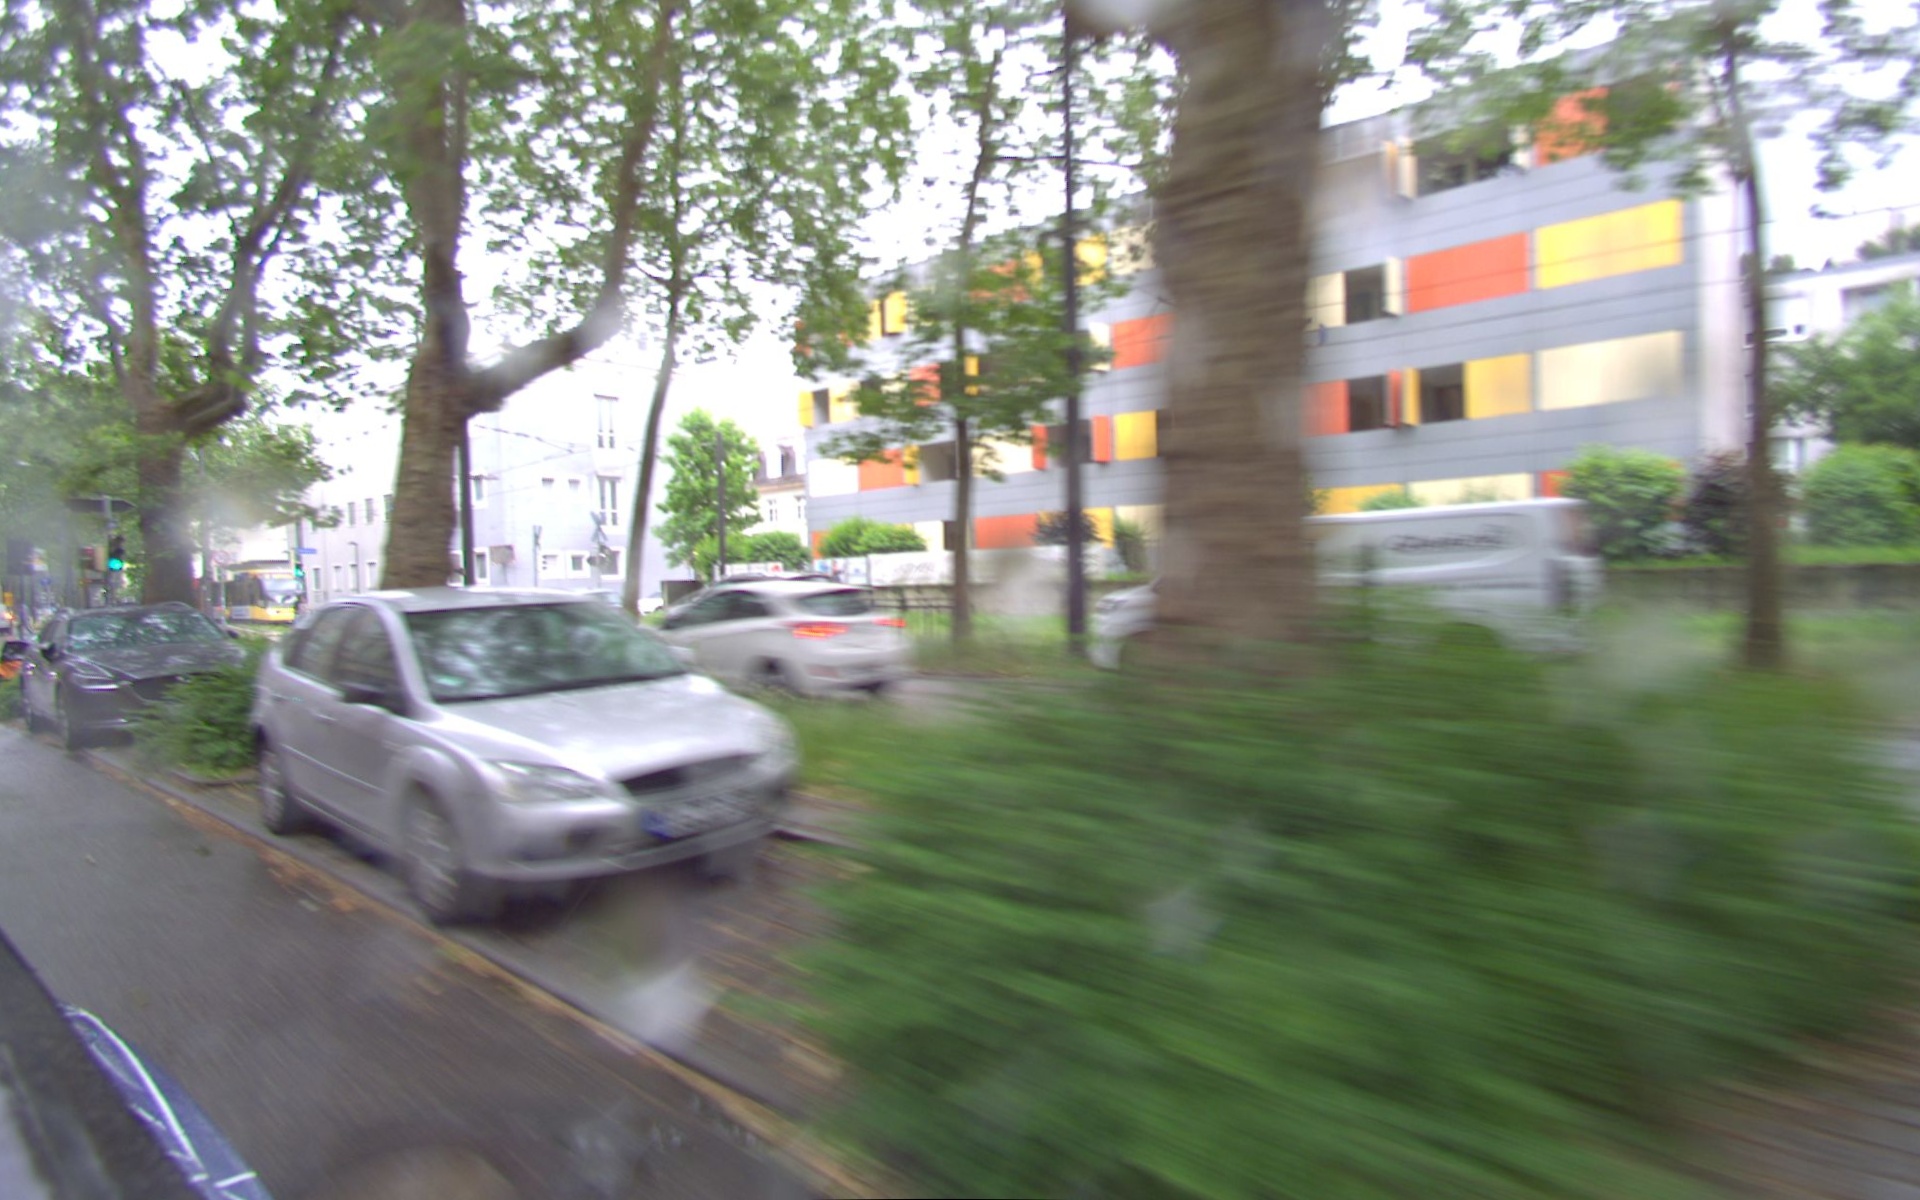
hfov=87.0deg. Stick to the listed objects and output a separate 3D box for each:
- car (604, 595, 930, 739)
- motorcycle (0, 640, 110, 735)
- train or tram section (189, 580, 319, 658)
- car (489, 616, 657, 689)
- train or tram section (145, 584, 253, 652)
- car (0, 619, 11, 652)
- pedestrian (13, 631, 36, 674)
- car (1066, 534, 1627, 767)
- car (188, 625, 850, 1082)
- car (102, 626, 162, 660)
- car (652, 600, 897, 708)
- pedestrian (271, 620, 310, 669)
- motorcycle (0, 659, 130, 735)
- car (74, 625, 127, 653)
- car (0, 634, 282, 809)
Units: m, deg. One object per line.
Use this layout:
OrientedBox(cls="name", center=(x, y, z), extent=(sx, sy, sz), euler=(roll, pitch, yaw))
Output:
OrientedBox(cls="car", center=(-2.469, 0.710, 12.455), extent=(3.997, 1.430, 1.815), euler=(-1, 2, 40))
OrientedBox(cls="motorcycle", center=(-16.132, 1.516, 17.510), extent=(2.077, 1.511, 0.772), euler=(-2, 1, -6))
OrientedBox(cls="train or tram section", center=(-37.316, 0.927, 53.246), extent=(11.548, 3.669, 2.869), euler=(-1, 2, 42))
OrientedBox(cls="car", center=(-9.126, 1.169, 23.699), extent=(4.387, 1.474, 1.884), euler=(-1, 1, 43))
OrientedBox(cls="train or tram section", center=(-45.956, 1.025, 60.950), extent=(11.548, 3.669, 2.869), euler=(-1, 2, 42))
OrientedBox(cls="car", center=(-55.405, 2.045, 57.355), extent=(4.065, 1.863, 1.912), euler=(-1, 1, 41))
OrientedBox(cls="pedestrian", center=(-42.390, 2.358, 45.840), extent=(0.635, 1.869, 0.654), euler=(-1, 1, 42))
OrientedBox(cls="car", center=(4.061, 0.441, 11.230), extent=(5.426, 2.012, 2.035), euler=(-1, 2, 38))
OrientedBox(cls="car", center=(-2.697, 0.960, 5.647), extent=(4.205, 1.526, 1.711), euler=(-1, 2, 41))
OrientedBox(cls="car", center=(-43.221, 2.213, 52.814), extent=(3.972, 1.520, 1.656), euler=(-1, 4, 41))
OrientedBox(cls="car", center=(-3.367, 0.880, 17.874), extent=(4.465, 1.612, 1.884), euler=(-1, 1, 41))
OrientedBox(cls="pedestrian", center=(-25.797, 1.708, 38.984), extent=(1.205, 1.813, 0.926), euler=(-1, 1, 41))
OrientedBox(cls="motorcycle", center=(-16.558, 1.765, 18.417), extent=(2.110, 1.218, 0.870), euler=(-2, 1, -4))
OrientedBox(cls="car", center=(-49.481, 2.248, 58.236), extent=(3.703, 1.394, 1.656), euler=(-1, 4, 41))
OrientedBox(cls="car", center=(-9.711, 1.218, 11.753), extent=(4.619, 1.496, 1.877), euler=(-1, 2, 41))
